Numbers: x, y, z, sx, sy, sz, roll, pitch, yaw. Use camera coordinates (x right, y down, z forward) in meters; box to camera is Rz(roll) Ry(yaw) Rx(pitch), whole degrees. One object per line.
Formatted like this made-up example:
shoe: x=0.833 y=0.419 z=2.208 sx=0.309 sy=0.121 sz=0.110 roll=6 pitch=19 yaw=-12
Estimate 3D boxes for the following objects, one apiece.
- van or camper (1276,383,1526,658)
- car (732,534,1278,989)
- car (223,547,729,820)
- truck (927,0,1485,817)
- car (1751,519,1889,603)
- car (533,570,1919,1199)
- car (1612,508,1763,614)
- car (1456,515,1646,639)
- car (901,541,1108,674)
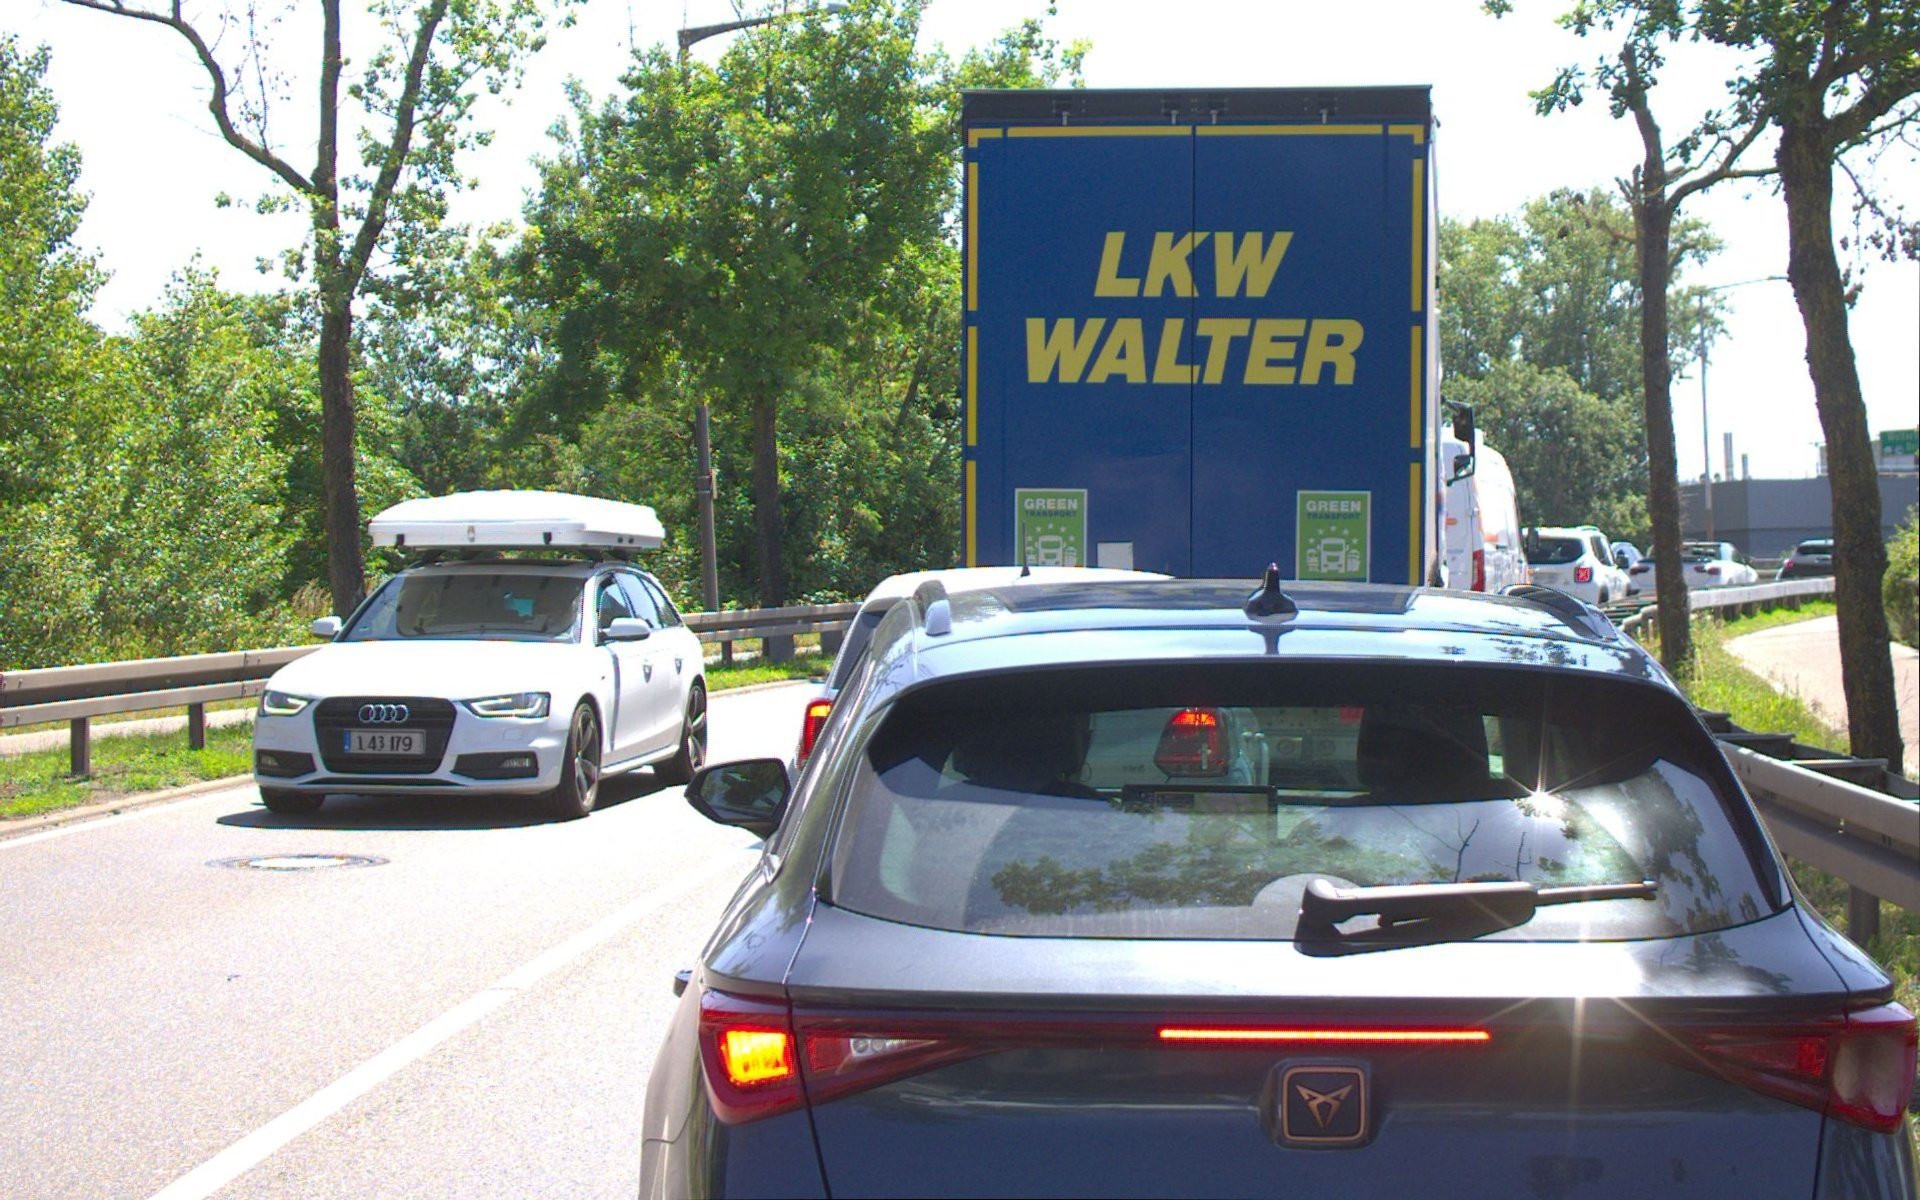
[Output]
van or camper: x=5.315 y=-0.918 z=40.677 sx=2.467 sy=2.988 sz=6.083 roll=1 pitch=1 yaw=11
car: x=0.193 y=0.509 z=13.521 sx=1.809 sy=1.503 sz=4.000 roll=1 pitch=1 yaw=1
car: x=-2.717 y=0.406 z=20.387 sx=1.820 sy=1.416 sz=4.465 roll=1 pitch=1 yaw=8
truck: x=2.393 y=-1.196 z=26.855 sx=2.950 sy=4.433 sz=16.793 roll=1 pitch=1 yaw=7
car: x=18.284 y=-0.836 z=72.973 sx=1.996 sy=1.711 sz=4.862 roll=1 pitch=1 yaw=24
car: x=0.410 y=0.689 z=5.608 sx=1.744 sy=1.427 sz=3.880 roll=1 pitch=1 yaw=0
car: x=13.069 y=-0.696 z=61.557 sx=1.995 sy=1.802 sz=4.841 roll=1 pitch=1 yaw=19
car: x=8.673 y=-0.355 z=50.156 sx=1.995 sy=1.706 sz=4.616 roll=1 pitch=1 yaw=19
car: x=0.562 y=0.047 z=38.729 sx=1.760 sy=1.391 sz=4.404 roll=1 pitch=1 yaw=8
